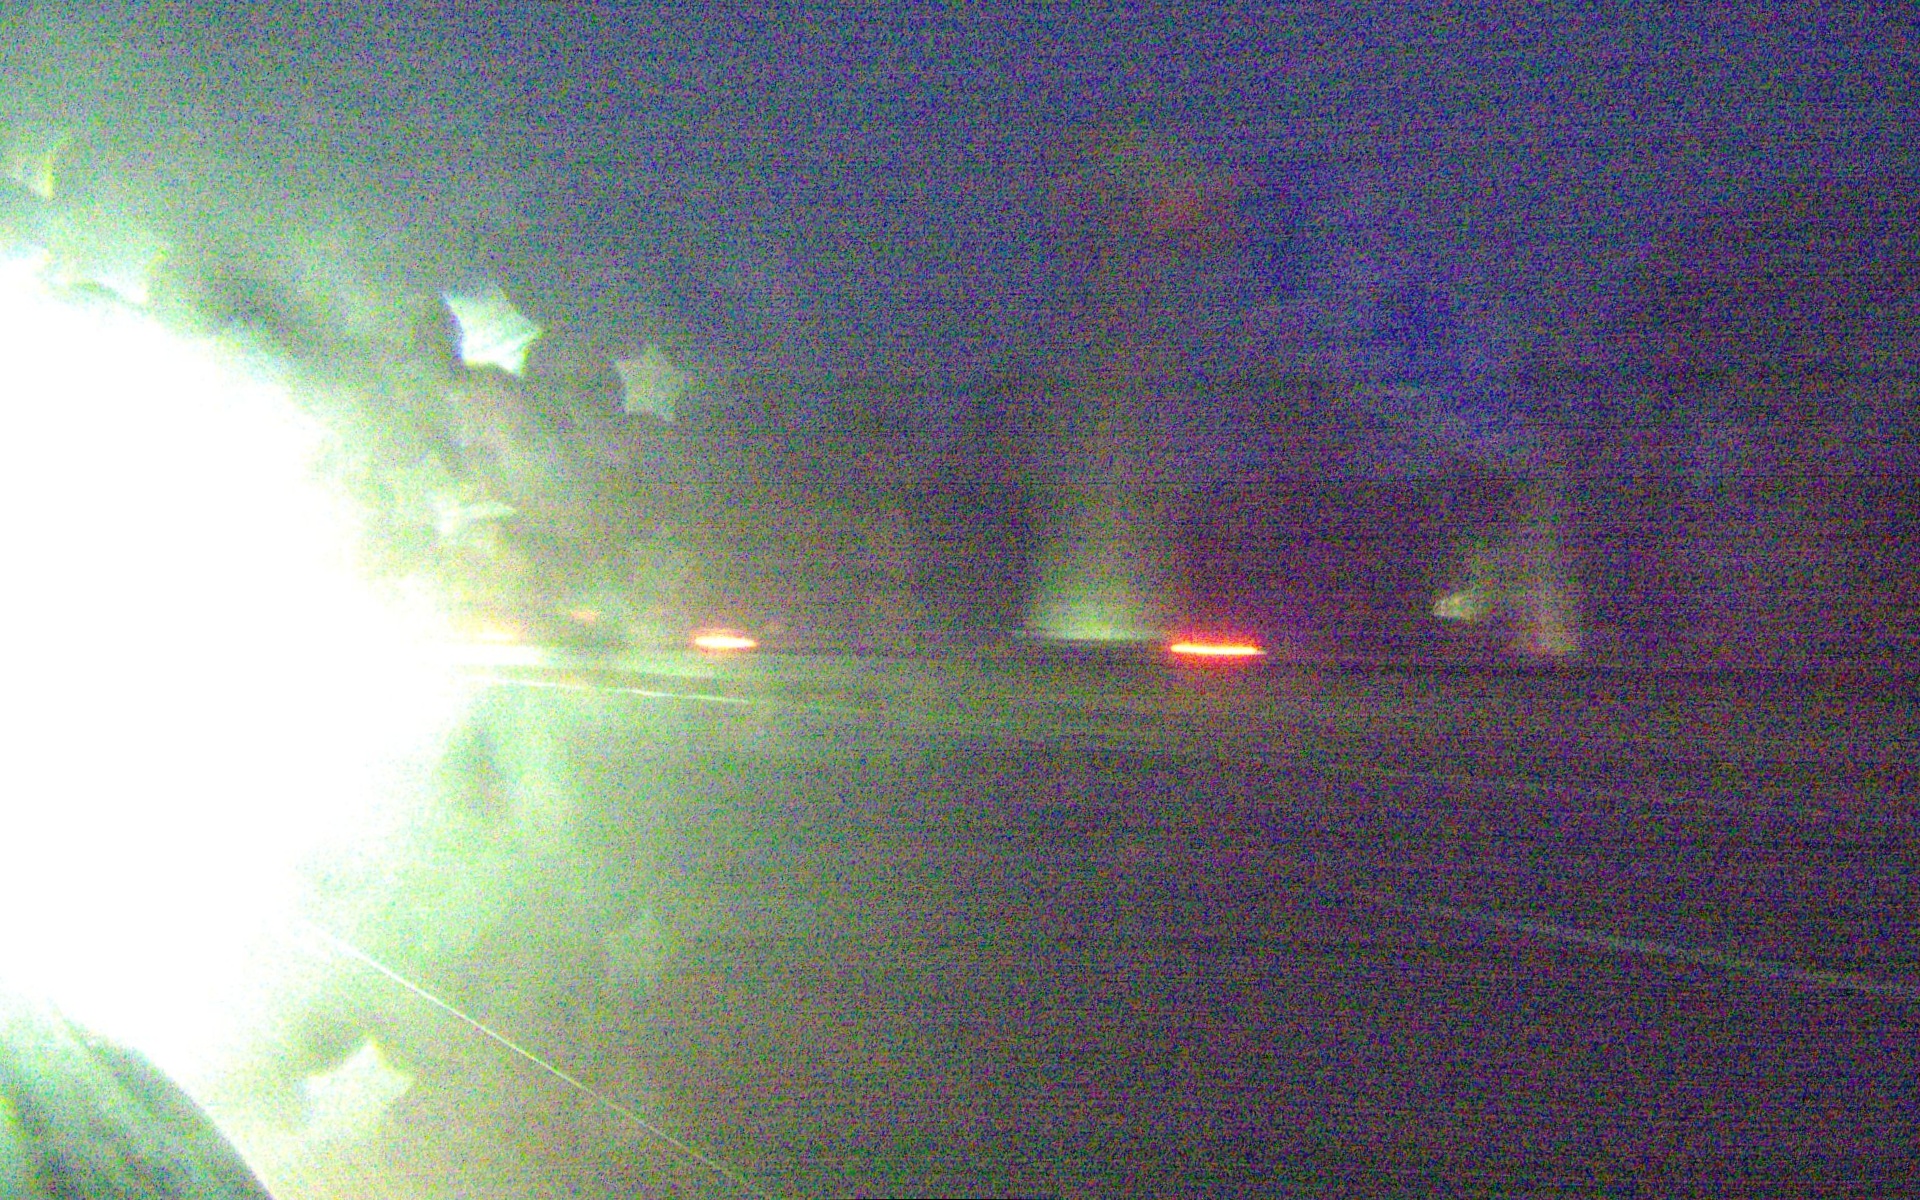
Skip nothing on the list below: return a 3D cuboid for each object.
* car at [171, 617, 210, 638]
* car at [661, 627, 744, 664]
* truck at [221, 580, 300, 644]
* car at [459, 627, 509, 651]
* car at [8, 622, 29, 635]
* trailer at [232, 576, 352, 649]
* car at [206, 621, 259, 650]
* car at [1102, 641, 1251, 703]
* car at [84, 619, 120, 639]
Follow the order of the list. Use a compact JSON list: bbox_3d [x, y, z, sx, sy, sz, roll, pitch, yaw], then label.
[{"bbox_3d":[-59.194,2.118,77.806,3.998,1.524,1.639,-1,0,41],"label":"car"},{"bbox_3d":[-11.597,2.007,45.489,3.998,1.524,1.639,-1,0,41],"label":"car"},{"bbox_3d":[-56.142,0.923,81.161,6.475,4.946,3.750,-1,0,41],"label":"truck"},{"bbox_3d":[-32.411,2.640,68.857,3.998,1.524,1.639,-1,0,41],"label":"car"},{"bbox_3d":[-132.966,4.022,142.918,4.393,1.767,1.702,-1,0,40],"label":"car"},{"bbox_3d":[-50.378,0.913,76.018,14.794,5.065,3.749,-1,0,41],"label":"trailer"},{"bbox_3d":[-41.882,2.011,58.224,3.944,1.524,1.639,-1,0,41],"label":"car"},{"bbox_3d":[6.405,2.084,30.146,3.998,1.584,1.781,-1,0,41],"label":"car"},{"bbox_3d":[-69.568,2.331,82.064,3.998,1.524,1.639,-1,0,41],"label":"car"}]
